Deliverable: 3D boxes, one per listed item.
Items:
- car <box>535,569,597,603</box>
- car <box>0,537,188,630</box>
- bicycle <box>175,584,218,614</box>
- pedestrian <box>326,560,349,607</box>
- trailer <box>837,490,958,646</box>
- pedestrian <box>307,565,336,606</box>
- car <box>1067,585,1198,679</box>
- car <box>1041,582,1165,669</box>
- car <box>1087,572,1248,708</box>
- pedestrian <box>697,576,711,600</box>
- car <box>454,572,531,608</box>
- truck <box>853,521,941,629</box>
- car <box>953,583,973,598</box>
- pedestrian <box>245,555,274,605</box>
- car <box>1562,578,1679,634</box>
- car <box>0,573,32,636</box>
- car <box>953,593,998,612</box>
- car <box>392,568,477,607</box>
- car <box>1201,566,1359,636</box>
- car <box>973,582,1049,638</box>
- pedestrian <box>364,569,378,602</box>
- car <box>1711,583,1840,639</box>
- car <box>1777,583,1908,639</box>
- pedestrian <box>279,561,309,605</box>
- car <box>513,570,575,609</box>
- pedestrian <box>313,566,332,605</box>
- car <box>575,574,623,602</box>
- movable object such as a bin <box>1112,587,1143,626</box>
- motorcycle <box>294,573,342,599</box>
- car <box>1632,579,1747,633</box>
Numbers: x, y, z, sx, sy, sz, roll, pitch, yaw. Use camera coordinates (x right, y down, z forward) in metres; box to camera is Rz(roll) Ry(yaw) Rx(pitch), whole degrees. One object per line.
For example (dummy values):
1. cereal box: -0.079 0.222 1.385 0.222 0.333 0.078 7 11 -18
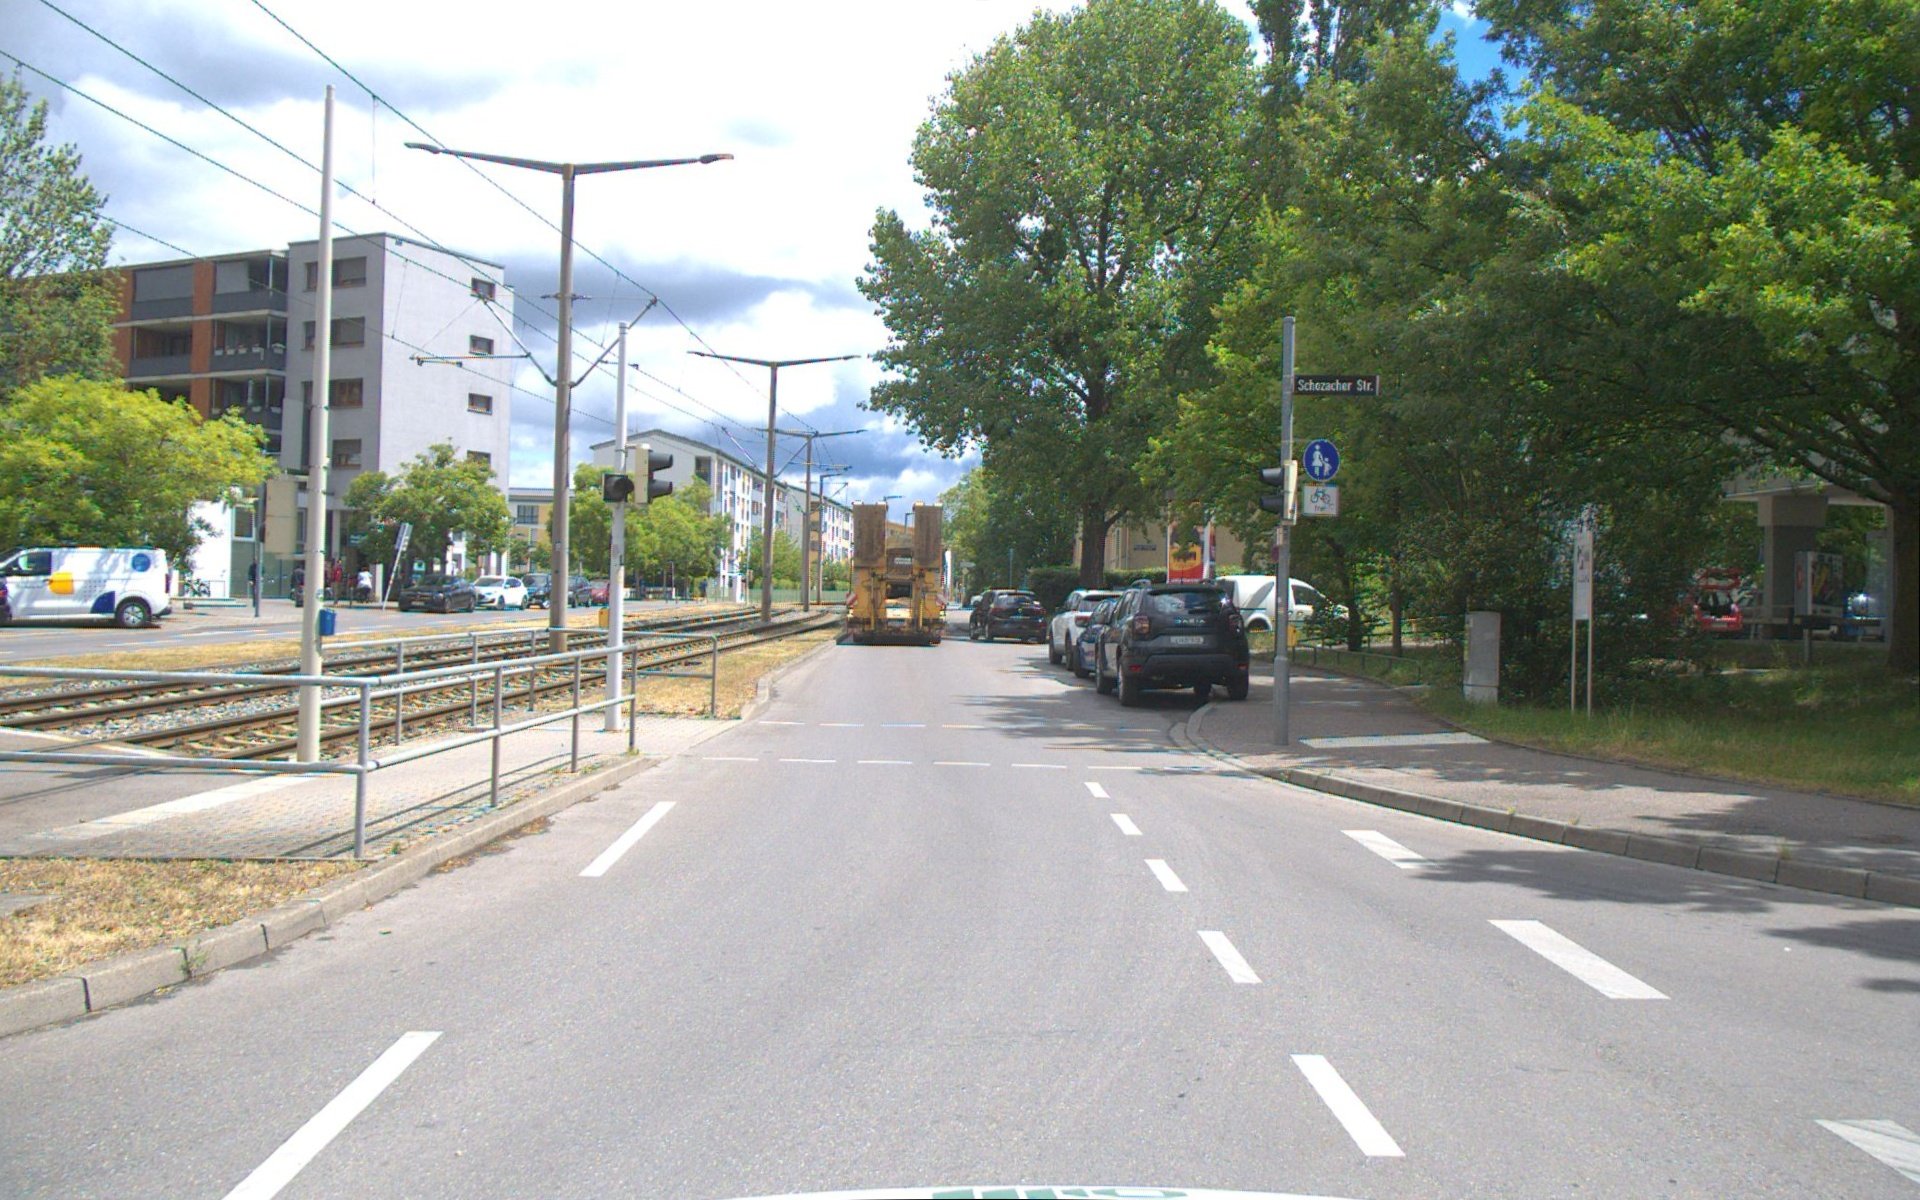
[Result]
1. car: -19.872 -0.712 83.503 1.952 1.676 4.102 0 1 3
2. car: -21.935 -0.435 41.030 4.720 2.194 1.878 -1 1 -42
3. bicycle: -32.209 -0.036 69.768 1.931 1.233 0.667 1 1 32
4. pedestrian: -24.658 -0.662 65.521 0.598 1.824 0.843 0 1 0
5. trailer: -1.723 -0.900 46.601 2.989 3.838 11.609 0 1 -2
6. pedestrian: -24.403 -0.553 63.200 0.588 1.560 0.974 0 1 12
7. car: 2.921 0.493 28.770 1.611 1.483 4.073 0 1 -4
8. car: 2.818 0.452 33.517 1.749 1.592 4.565 0 1 -5
9. car: 2.935 0.489 24.269 1.611 1.793 4.568 0 1 -2
10. pedestrian: -17.796 -0.835 114.967 0.734 1.690 0.870 0 1 4
11. car: -20.212 -0.464 71.677 1.717 1.501 4.403 0 1 6
12. truck: -2.108 -0.852 56.010 2.776 3.388 7.982 0 1 -2
13. car: 0.266 -0.899 160.498 1.953 1.411 4.000 0 1 0
14. pedestrian: -25.853 -0.740 61.032 0.834 1.824 0.863 -1 1 -37
15. car: 19.142 0.146 48.111 1.900 1.516 4.002 0 1 2
16. car: -23.072 0.101 36.805 3.965 1.407 1.878 -1 1 -42
17. car: 1.317 0.190 141.793 3.521 1.612 2.002 0 0 12
18. car: -20.275 -0.484 63.970 1.698 1.453 4.382 1 1 3
19. car: 8.737 -0.004 45.183 3.934 1.854 1.798 0 1 -24
20. car: 1.390 0.254 46.497 1.779 1.474 3.824 0 1 -4
21. pedestrian: -26.371 -0.661 74.054 0.491 1.485 0.556 0 1 -27
22. car: 23.417 0.276 47.653 1.708 1.496 4.000 0 1 -1
23. car: 26.085 0.288 49.042 1.708 1.555 4.000 0 1 -1
24. pedestrian: -25.452 -0.650 63.231 0.823 1.678 0.613 1 1 6
25. car: -19.444 -0.501 77.430 1.953 1.691 4.099 2 1 -2
26. pedestrian: -25.993 -0.593 67.459 0.656 1.601 0.682 0 1 -27
27. car: -19.704 -0.666 90.390 1.579 1.451 3.426 0 1 7
28. movable object such as a bin: 6.289 0.238 62.239 1.076 1.464 0.761 0 1 -2
29. motorcycle: -29.102 -0.634 75.010 1.854 1.199 0.741 0 1 -2
30. car: 21.197 0.134 48.243 1.707 1.468 4.002 0 1 2
